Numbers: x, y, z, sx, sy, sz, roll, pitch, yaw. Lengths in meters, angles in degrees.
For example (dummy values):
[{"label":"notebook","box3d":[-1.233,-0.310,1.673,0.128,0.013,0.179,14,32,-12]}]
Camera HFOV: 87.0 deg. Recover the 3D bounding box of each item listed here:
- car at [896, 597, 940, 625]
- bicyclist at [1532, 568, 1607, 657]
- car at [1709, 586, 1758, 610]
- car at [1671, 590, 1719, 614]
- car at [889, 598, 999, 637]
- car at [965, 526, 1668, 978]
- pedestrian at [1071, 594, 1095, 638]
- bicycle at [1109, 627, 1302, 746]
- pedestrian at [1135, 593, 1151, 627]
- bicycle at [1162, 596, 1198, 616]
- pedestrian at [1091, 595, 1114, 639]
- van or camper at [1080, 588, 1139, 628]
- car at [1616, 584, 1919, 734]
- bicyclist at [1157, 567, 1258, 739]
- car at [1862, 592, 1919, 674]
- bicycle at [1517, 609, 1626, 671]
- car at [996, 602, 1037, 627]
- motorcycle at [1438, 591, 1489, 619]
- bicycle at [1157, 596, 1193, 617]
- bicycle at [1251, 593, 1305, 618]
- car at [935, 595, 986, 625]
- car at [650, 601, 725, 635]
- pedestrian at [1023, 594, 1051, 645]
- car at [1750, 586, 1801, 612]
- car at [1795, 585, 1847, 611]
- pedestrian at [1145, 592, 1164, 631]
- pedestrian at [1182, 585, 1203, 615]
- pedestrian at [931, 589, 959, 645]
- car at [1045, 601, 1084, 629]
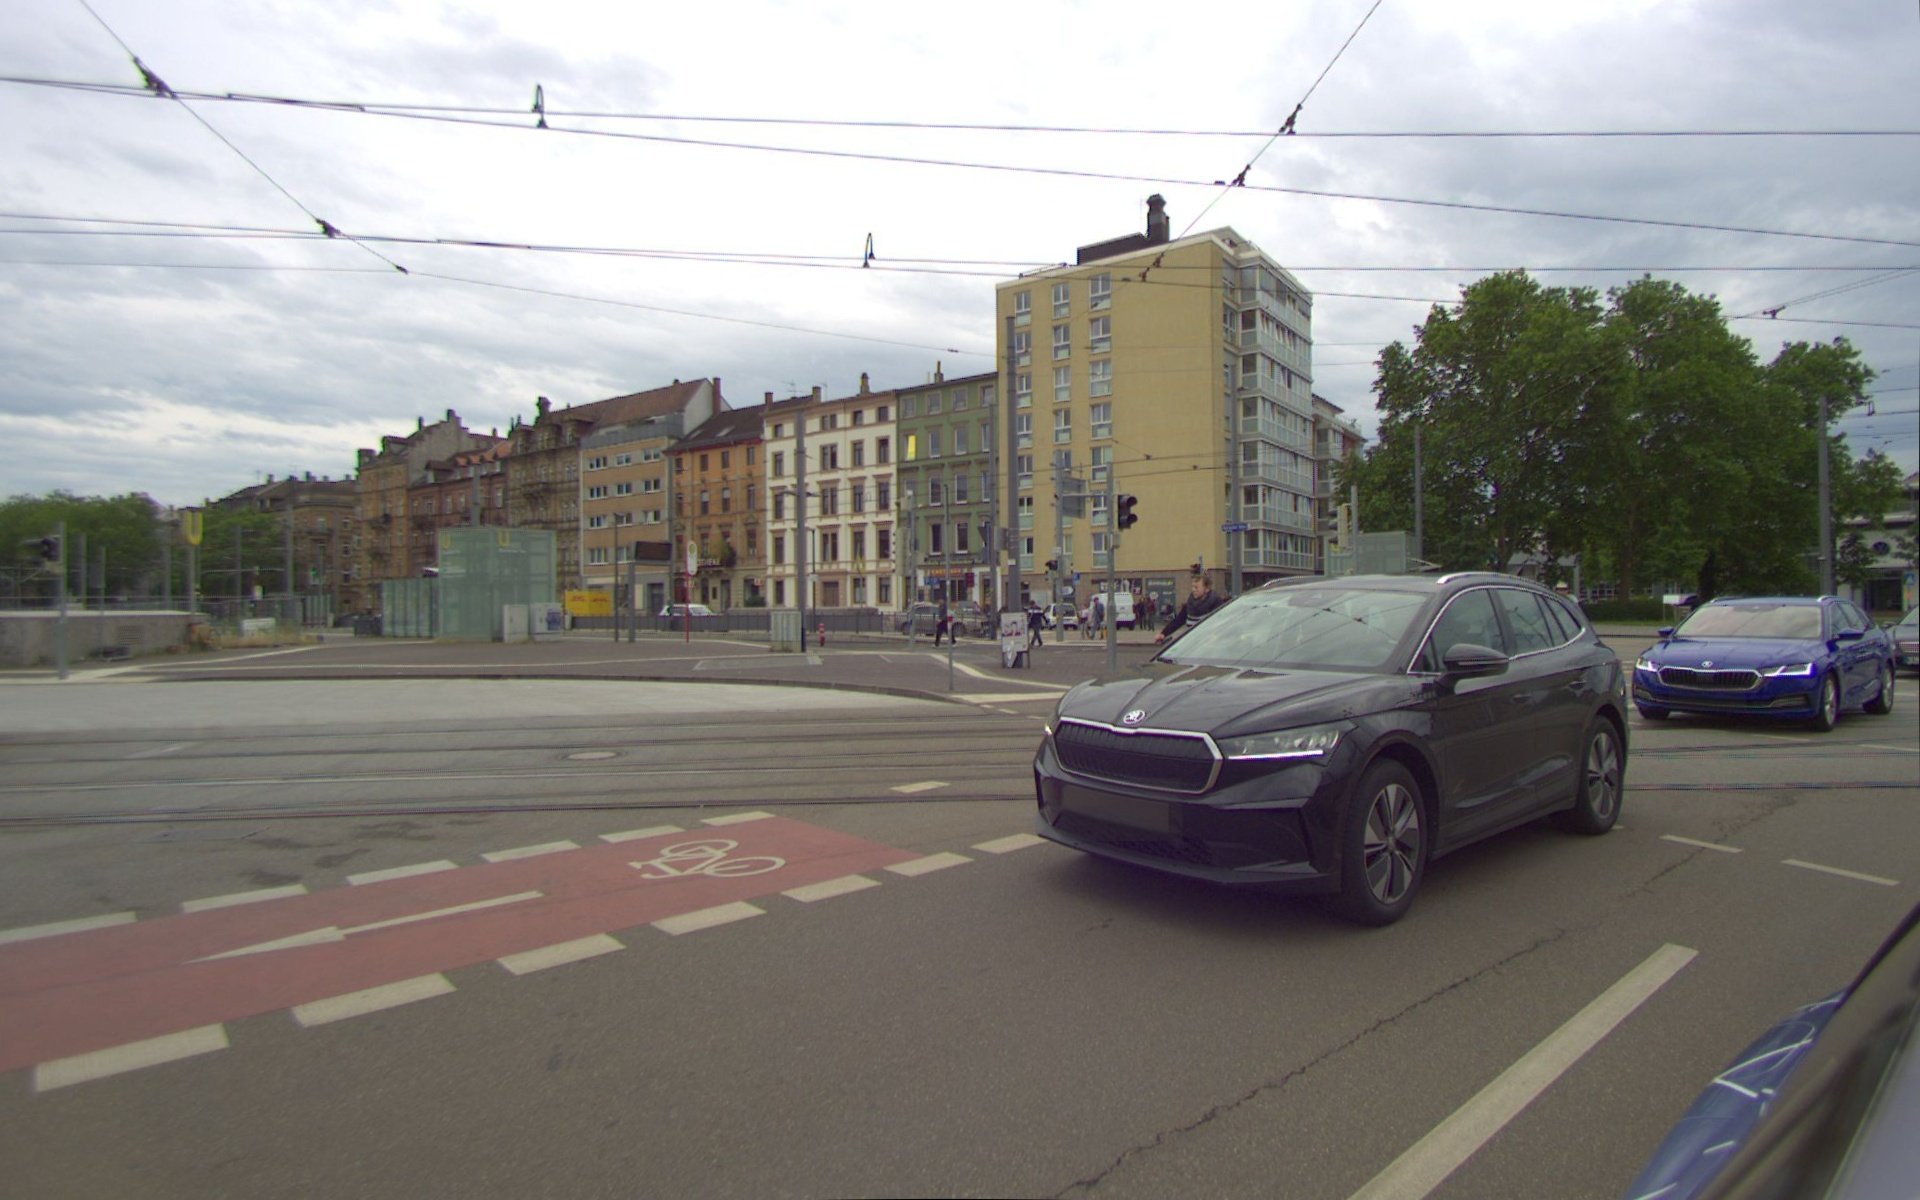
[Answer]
[{"label":"car","box3d":[-2.566,0.650,60.471,1.700,1.607,3.745,-1,0,-17]},{"label":"bicyclist","box3d":[11.621,0.241,19.307,0.914,1.639,0.792,-1,-2,-26]},{"label":"car","box3d":[64.077,-0.162,83.823,4.152,1.484,1.958,-7,3,-33]},{"label":"car","box3d":[62.511,0.161,86.055,4.153,1.530,1.958,-8,4,-33]},{"label":"car","box3d":[-0.718,0.739,42.814,4.423,1.505,1.972,-1,0,40]},{"label":"car","box3d":[2.336,0.543,5.940,4.435,1.679,1.906,-1,0,-40]},{"label":"pedestrian","box3d":[4.669,0.607,38.296,0.757,1.632,0.947,-1,0,14]},{"label":"bicycle","box3d":[2.574,0.847,10.506,2.084,1.068,0.627,-1,0,-31]},{"label":"pedestrian","box3d":[9.590,0.531,53.081,0.605,1.737,0.825,-1,0,-7]},{"label":"bicycle","box3d":[13.106,0.376,60.334,2.026,1.184,0.662,-1,0,34]},{"label":"pedestrian","box3d":[5.355,0.633,38.013,0.773,1.622,0.893,-1,-1,14]},{"label":"van or camper","box3d":[7.979,0.418,54.424,2.130,2.004,5.469,-1,0,-2]},{"label":"car","box3d":[9.833,0.574,12.122,4.668,1.454,1.770,-1,0,-36]},{"label":"bicyclist","box3d":[2.562,0.525,10.509,0.790,1.712,0.618,0,-1,-30]},{"label":"car","box3d":[18.401,0.543,18.362,4.334,1.387,1.773,-1,0,-30]},{"label":"bicycle","box3d":[11.667,0.743,19.307,1.975,1.093,0.764,-1,-2,-25]},{"label":"car","box3d":[3.106,0.766,56.521,1.646,1.320,3.743,-1,0,-7]},{"label":"motorcycle","box3d":[25.268,0.245,50.778,2.271,1.383,1.037,0,0,28]},{"label":"bicycle","box3d":[12.700,0.380,59.779,2.026,1.184,0.662,-1,0,34]},{"label":"bicycle","box3d":[17.979,0.320,57.251,2.769,1.395,0.891,-1,0,39]},{"label":"car","box3d":[-0.014,0.573,58.673,1.852,1.602,3.745,-1,0,-17]},{"label":"car","box3d":[-14.756,0.963,54.684,3.980,1.772,1.972,-1,0,40]},{"label":"pedestrian","box3d":[2.600,0.655,34.237,0.773,1.664,0.900,-1,0,14]},{"label":"car","box3d":[65.587,-0.081,81.379,4.153,1.615,1.958,-8,4,-33]},{"label":"car","box3d":[67.385,-0.157,79.172,4.155,1.472,1.958,-10,5,-33]},{"label":"pedestrian","box3d":[8.981,0.532,46.717,0.777,1.779,1.044,-1,0,15]},{"label":"pedestrian","box3d":[13.423,0.000,58.370,0.901,1.759,0.802,-1,-1,36]},{"label":"pedestrian","box3d":[-0.523,0.577,35.534,0.773,1.936,0.900,-1,0,14]},{"label":"car","box3d":[5.763,0.803,56.181,1.703,1.435,3.738,-2,0,0]}]
